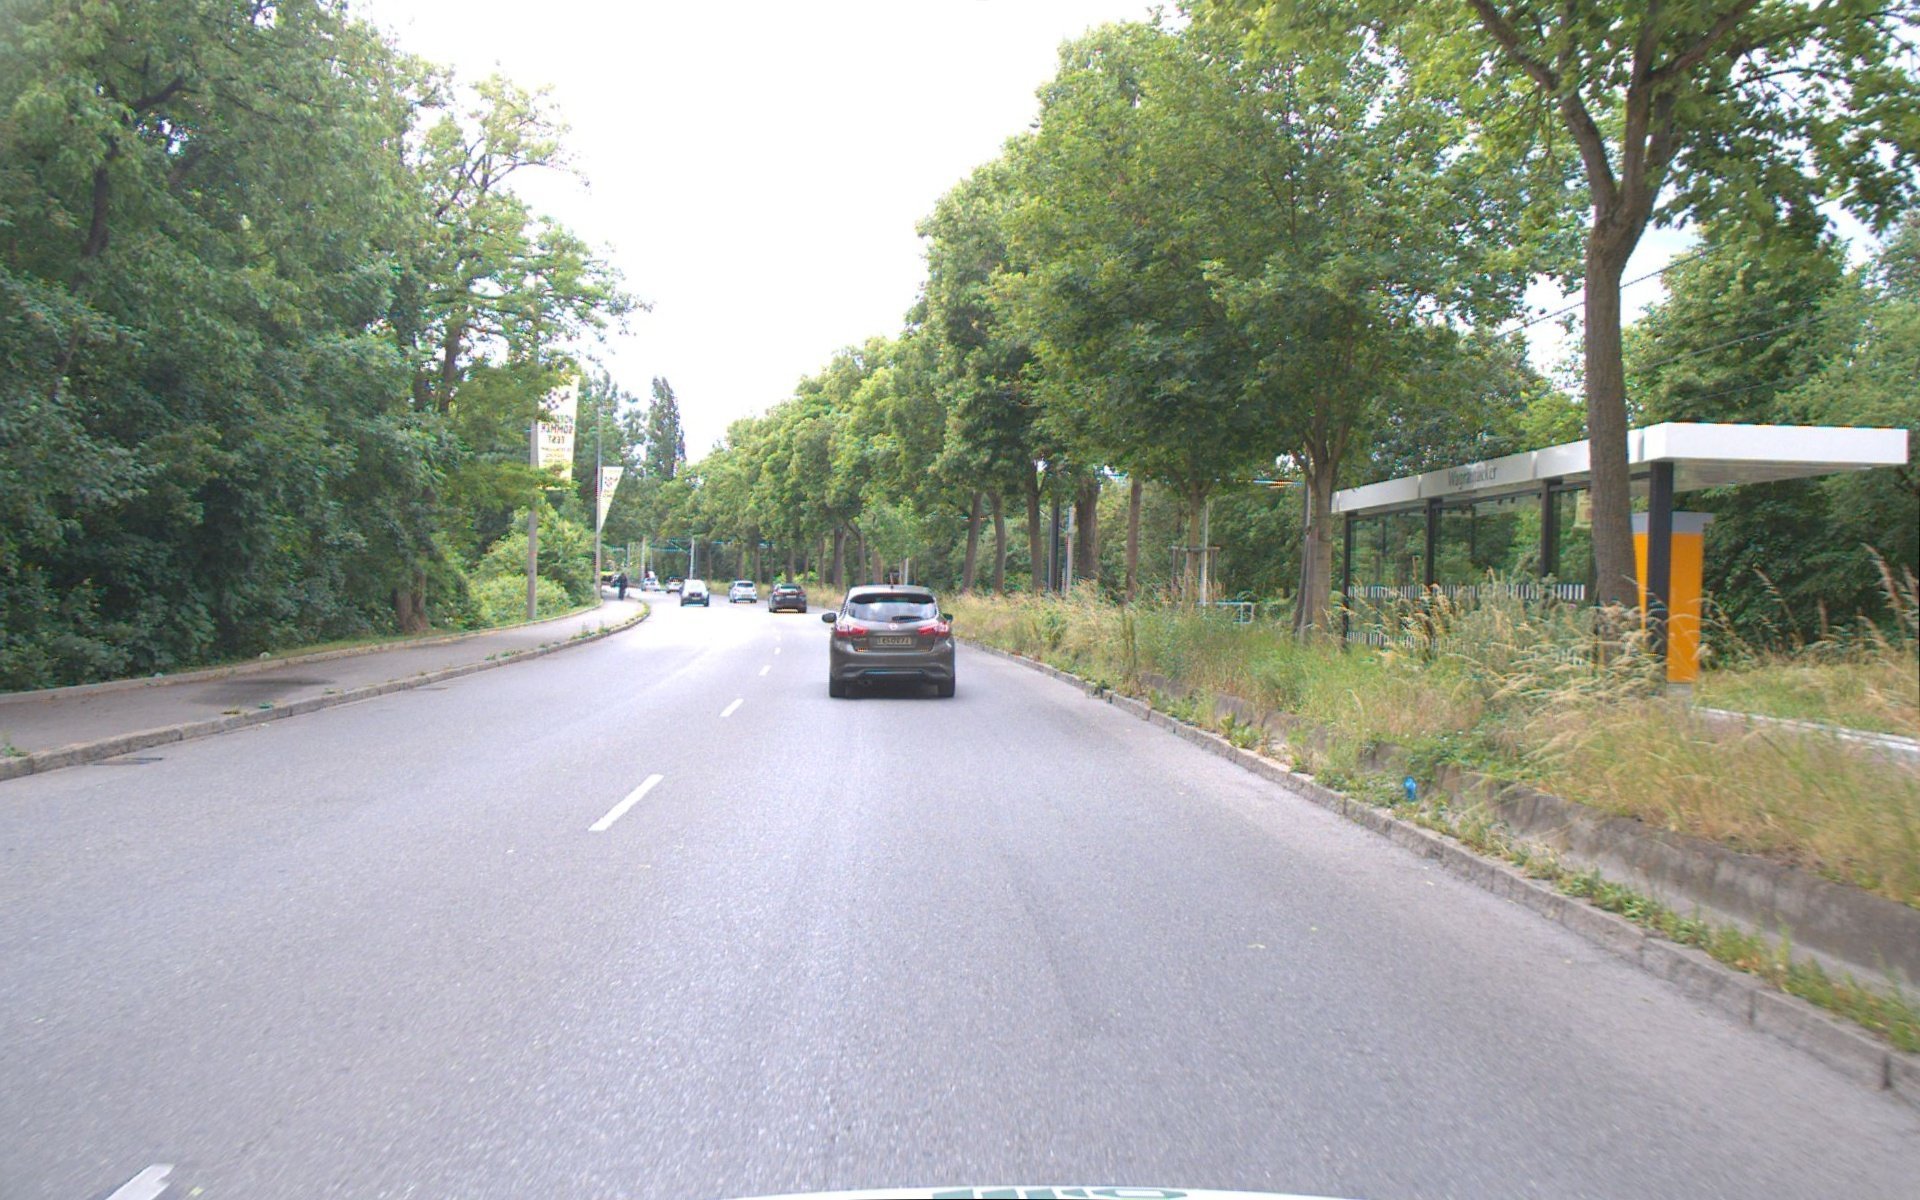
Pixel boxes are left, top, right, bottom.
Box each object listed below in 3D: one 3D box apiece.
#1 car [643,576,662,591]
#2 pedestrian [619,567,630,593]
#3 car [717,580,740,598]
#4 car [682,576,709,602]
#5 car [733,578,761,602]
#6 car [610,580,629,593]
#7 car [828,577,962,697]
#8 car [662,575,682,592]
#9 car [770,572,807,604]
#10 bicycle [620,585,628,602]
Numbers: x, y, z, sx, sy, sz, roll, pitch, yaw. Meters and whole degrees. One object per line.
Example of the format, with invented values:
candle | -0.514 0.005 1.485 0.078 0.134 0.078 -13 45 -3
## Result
car | -33.721 -1.834 181.313 1.746 1.497 3.987 3 1 -13
pedestrian | -21.273 -1.252 104.836 0.606 1.598 0.847 3 1 -11
car | -21.649 -1.044 154.487 1.745 1.497 3.987 2 1 -13
car | -15.830 -0.652 98.959 1.566 1.532 3.022 0 0 -9
car | -14.604 -0.695 113.455 1.742 1.497 3.995 3 1 -7
car | -42.676 -1.704 207.277 1.749 1.497 3.979 3 1 -19
car | -1.019 0.471 23.978 1.780 1.534 3.997 0 1 -5
car | -27.924 -1.610 160.402 1.743 1.497 3.992 2 1 -9
car | -8.740 -0.618 84.455 1.742 1.497 3.996 3 1 -6
bicycle | -21.299 -0.414 104.814 0.479 1.048 1.121 3 1 -11
